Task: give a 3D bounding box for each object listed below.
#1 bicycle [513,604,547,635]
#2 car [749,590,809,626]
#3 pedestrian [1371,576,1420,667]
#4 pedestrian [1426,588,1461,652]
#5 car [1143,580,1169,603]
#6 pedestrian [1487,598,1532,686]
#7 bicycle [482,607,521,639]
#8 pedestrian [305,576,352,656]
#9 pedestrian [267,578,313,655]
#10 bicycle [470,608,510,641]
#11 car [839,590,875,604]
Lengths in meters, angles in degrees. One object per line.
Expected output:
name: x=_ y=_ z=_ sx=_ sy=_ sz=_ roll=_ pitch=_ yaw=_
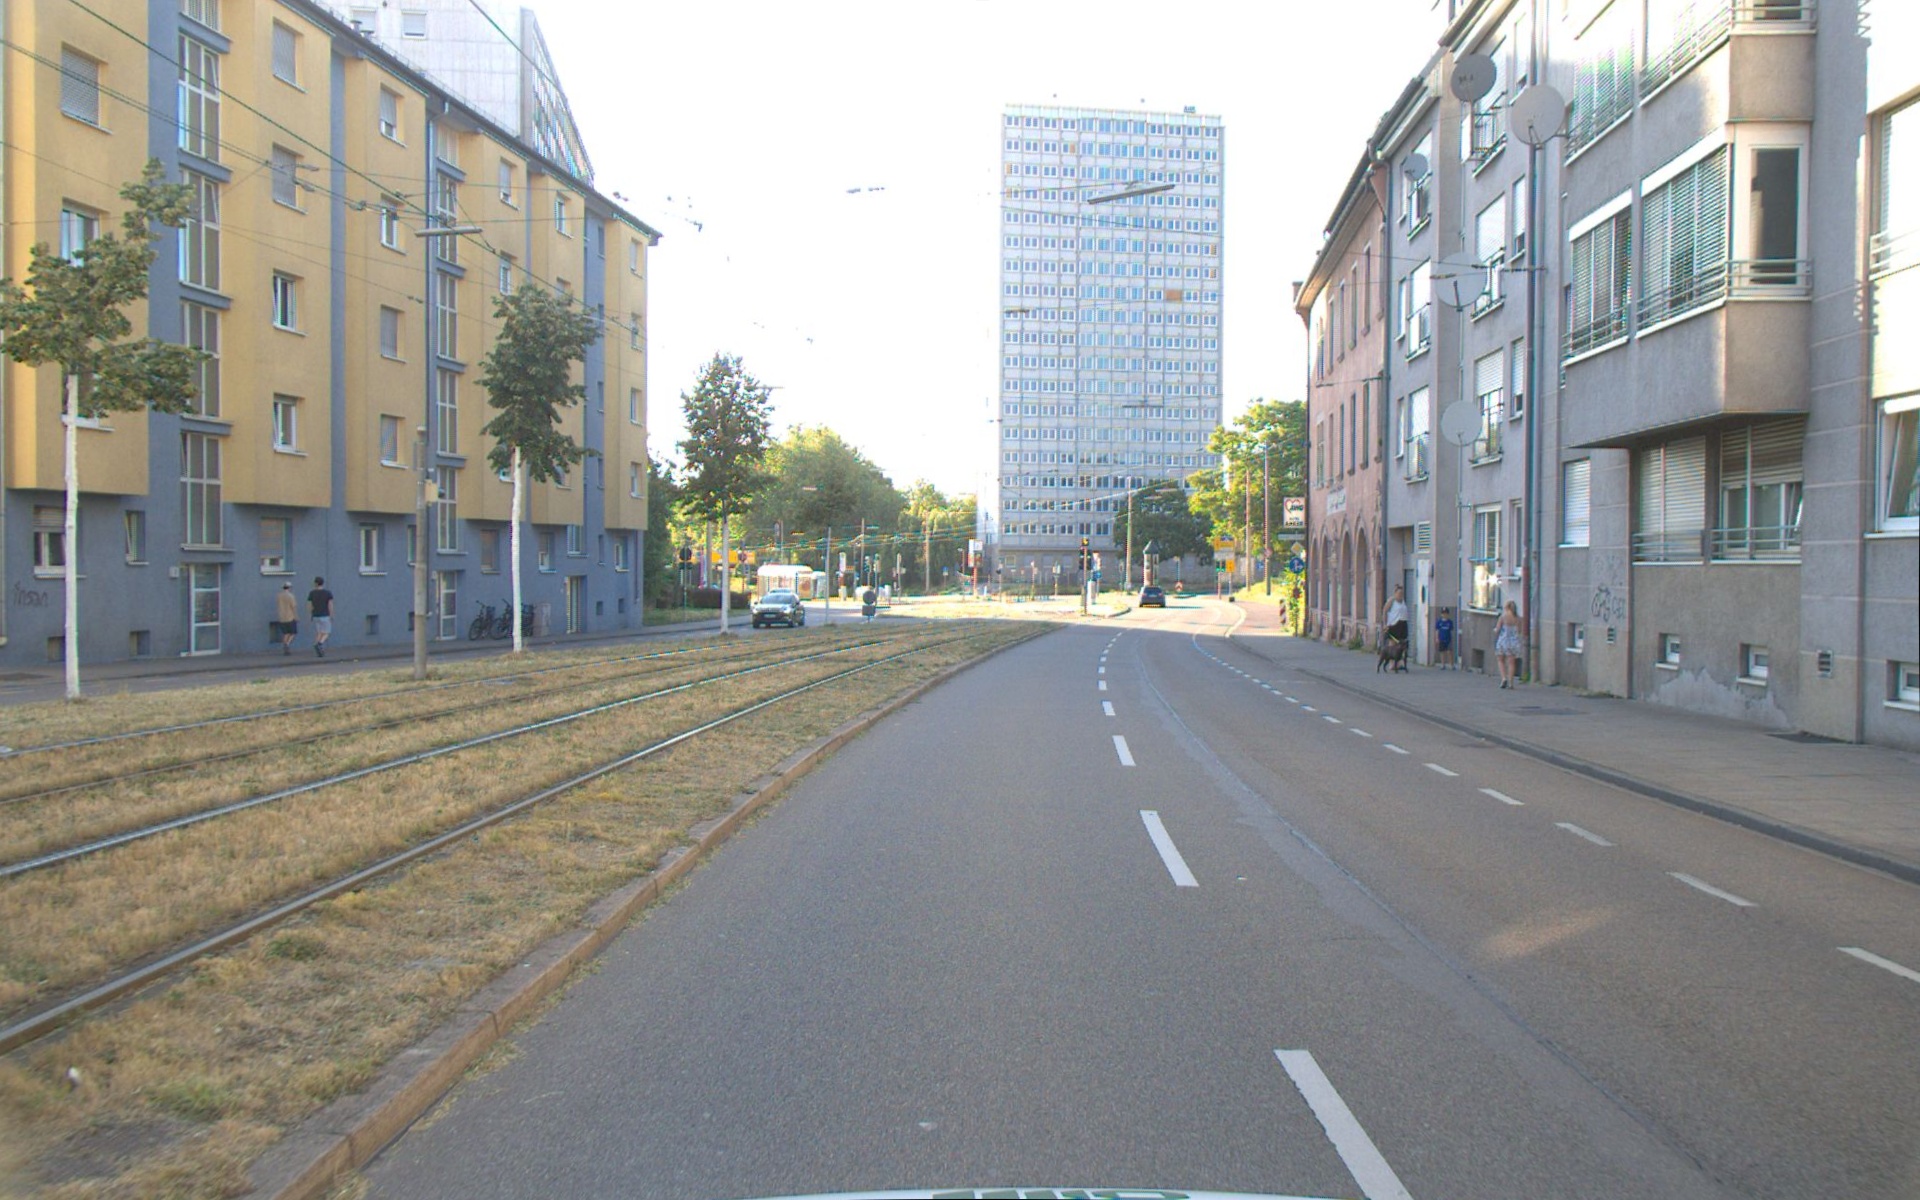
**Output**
bicycle: x=-14.031 y=0.631 z=53.996 sx=0.418 sy=0.976 sz=1.913 roll=0 pitch=0 yaw=7
car: x=-8.002 y=0.342 z=73.642 sx=1.755 sy=1.494 sz=4.798 roll=-2 pitch=0 yaw=4
pedestrian: x=8.808 y=0.423 z=33.470 sx=0.812 sy=1.802 sz=0.996 roll=0 pitch=1 yaw=5
pedestrian: x=9.750 y=0.394 z=33.361 sx=0.575 sy=1.273 sz=0.585 roll=0 pitch=1 yaw=5
car: x=13.243 y=-0.576 z=111.548 sx=1.734 sy=1.447 sz=3.859 roll=0 pitch=1 yaw=7
pedestrian: x=8.674 y=0.662 z=26.122 sx=0.503 sy=1.368 sz=0.609 roll=-1 pitch=0 yaw=1
bicycle: x=-14.300 y=0.711 z=51.633 sx=0.418 sy=0.941 sz=1.913 roll=4 pitch=1 yaw=7
pedestrian: x=-14.753 y=0.372 z=38.672 sx=0.580 sy=1.803 sz=0.886 roll=4 pitch=1 yaw=5
pedestrian: x=-15.496 y=0.372 z=38.259 sx=0.603 sy=1.723 sz=0.707 roll=5 pitch=1 yaw=5
bicycle: x=-14.294 y=0.738 z=50.352 sx=0.418 sy=0.941 sz=1.913 roll=3 pitch=1 yaw=7
car: x=-11.890 y=-0.356 z=191.431 sx=3.929 sy=1.556 sz=1.988 roll=1 pitch=1 yaw=42
